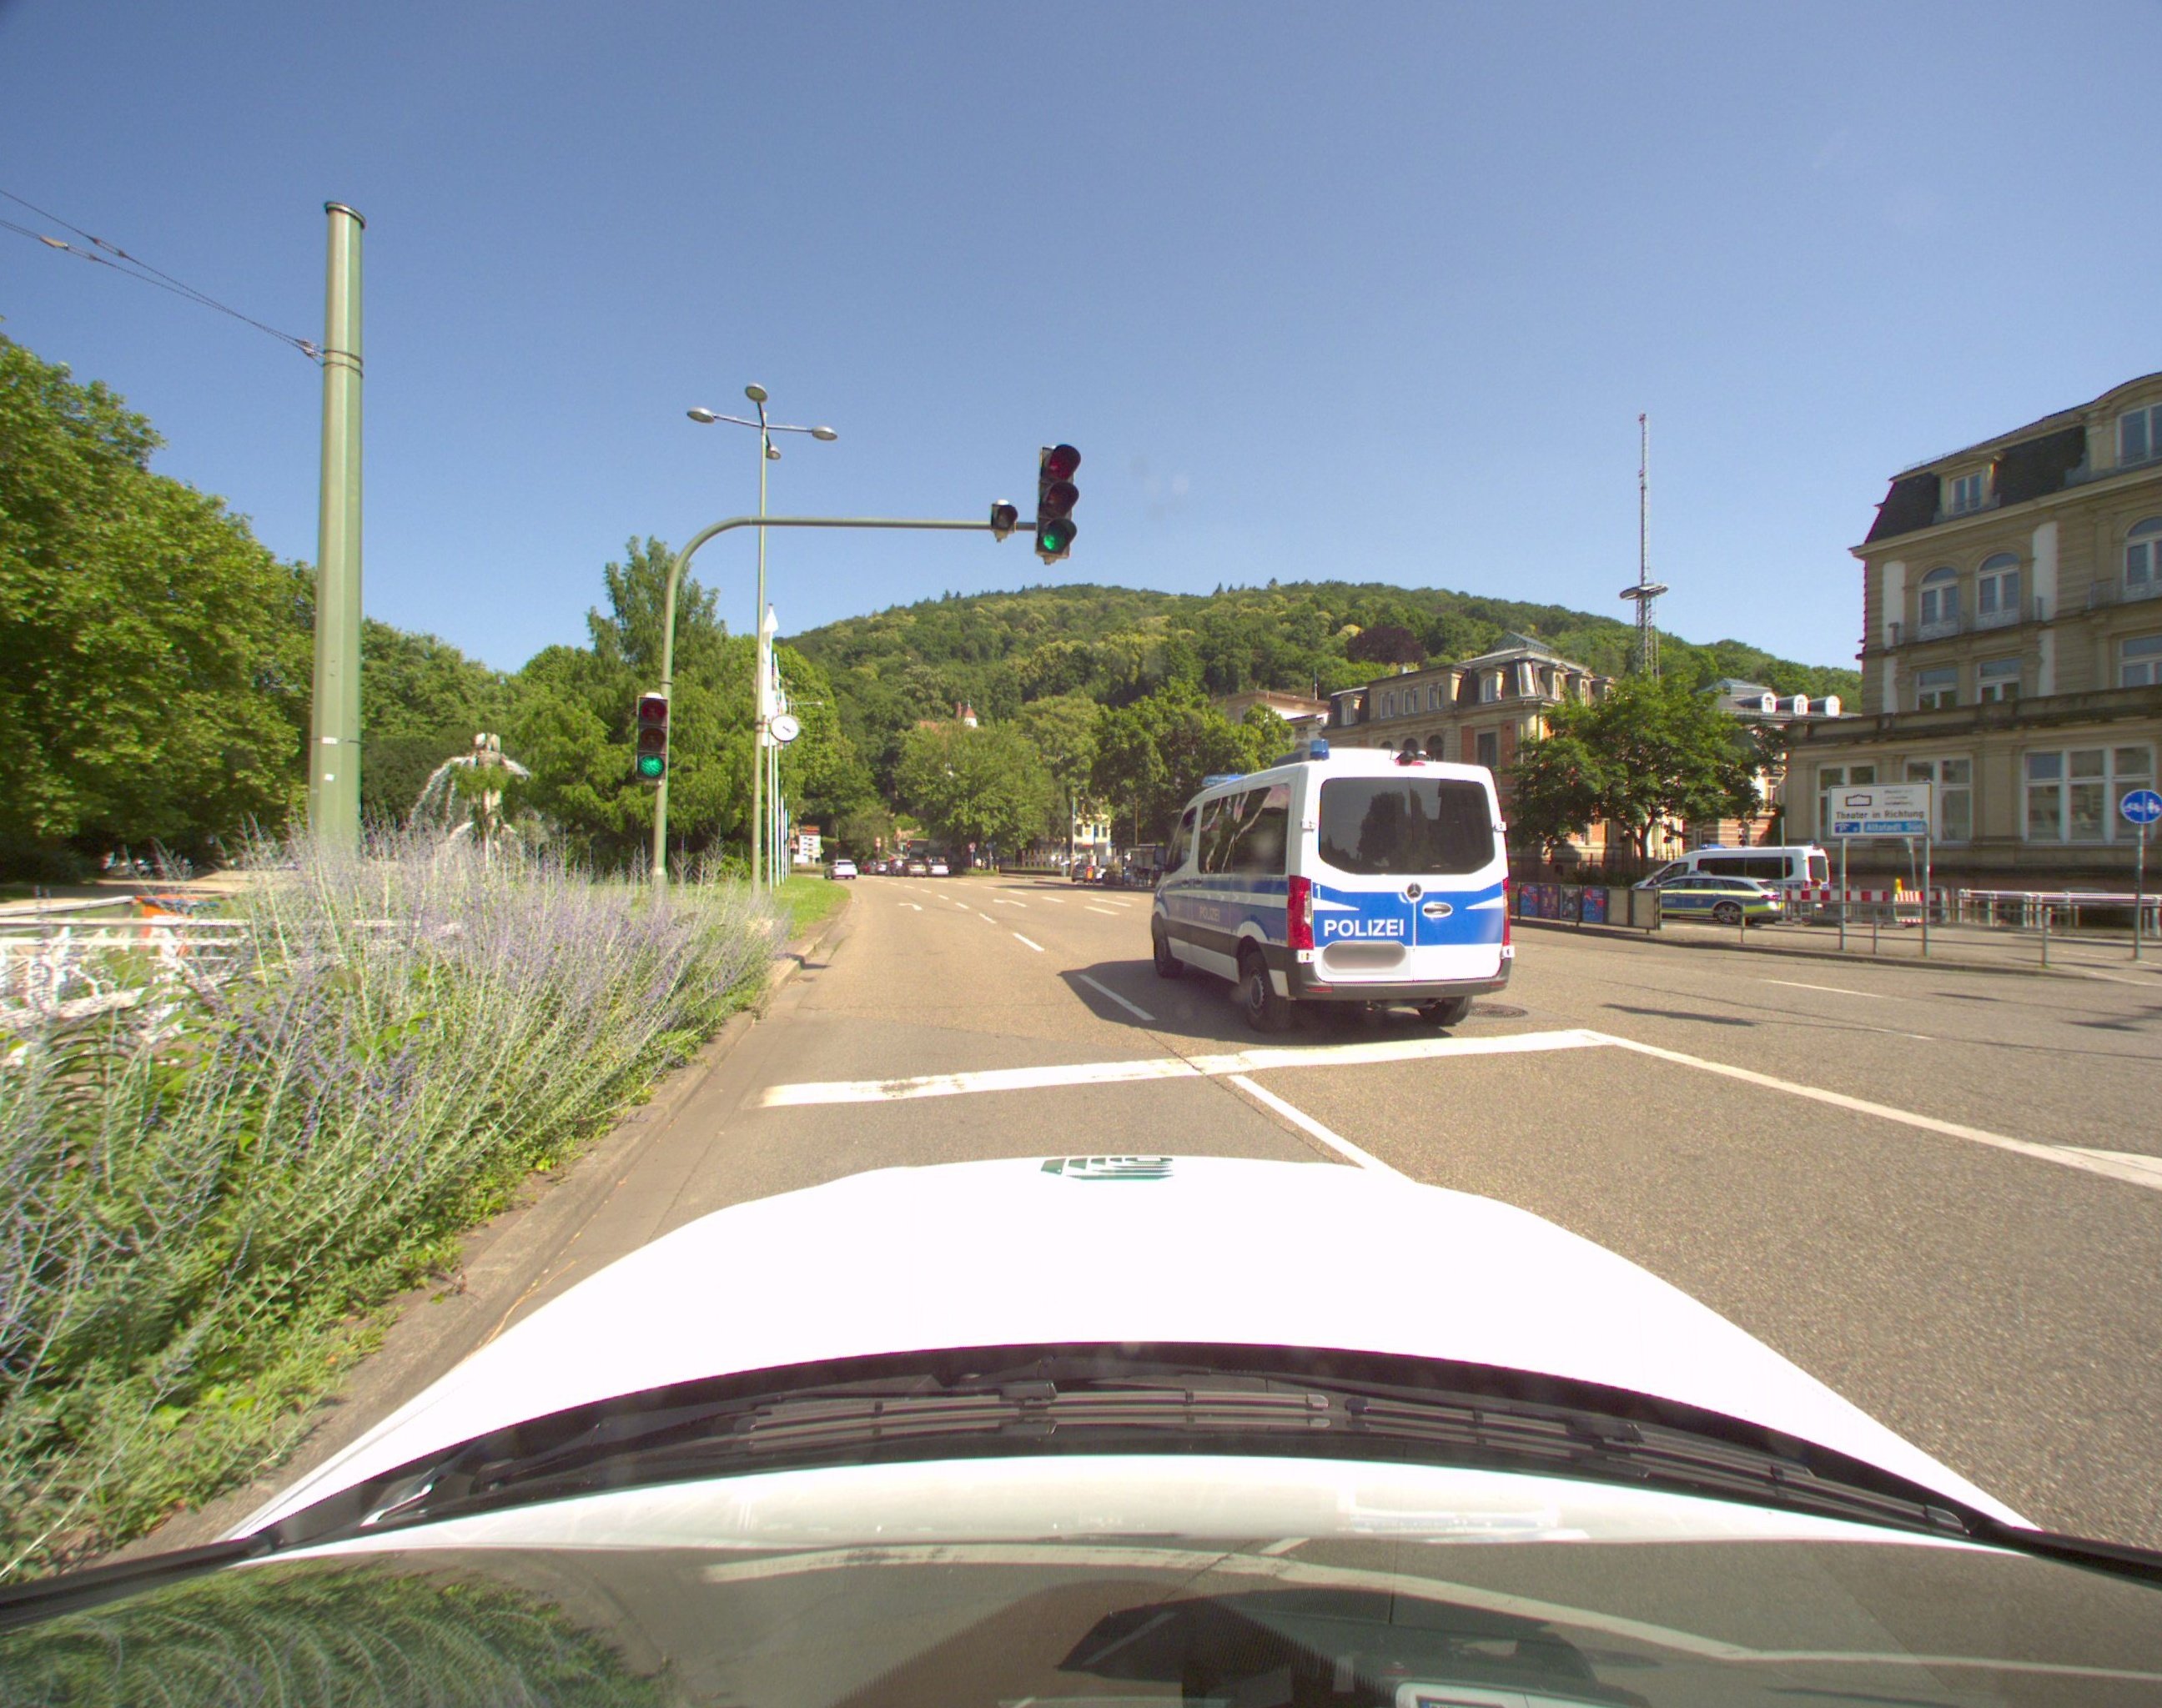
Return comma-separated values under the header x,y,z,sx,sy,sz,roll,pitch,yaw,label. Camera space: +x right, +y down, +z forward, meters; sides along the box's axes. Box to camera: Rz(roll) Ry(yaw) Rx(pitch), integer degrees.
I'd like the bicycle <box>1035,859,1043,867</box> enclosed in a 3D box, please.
x,y,z,sx,sy,sz,roll,pitch,yaw,label
-5.547,1.191,107.317,0.539,1.085,1.821,0,0,-22,bicycle

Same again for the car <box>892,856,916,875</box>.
x,y,z,sx,sy,sz,roll,pitch,yaw,label
-18.650,1.210,85.739,1.764,1.938,3.466,1,-1,-24,car

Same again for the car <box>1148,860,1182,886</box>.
x,y,z,sx,sy,sz,roll,pitch,yaw,label
5.820,1.271,55.969,1.696,1.696,4.290,1,-1,14,car

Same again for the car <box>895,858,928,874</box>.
x,y,z,sx,sy,sz,roll,pitch,yaw,label
-14.207,0.982,68.285,1.766,1.334,3.768,1,0,-27,car

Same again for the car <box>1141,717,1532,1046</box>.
x,y,z,sx,sy,sz,roll,pitch,yaw,label
2.228,0.250,8.804,2.073,2.509,4.913,1,-1,-9,car

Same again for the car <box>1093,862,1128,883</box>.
x,y,z,sx,sy,sz,roll,pitch,yaw,label
2.256,1.372,62.057,1.695,1.511,3.828,1,-1,17,car

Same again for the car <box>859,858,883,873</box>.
x,y,z,sx,sy,sz,roll,pitch,yaw,label
-21.503,1.197,83.271,1.764,1.461,3.466,1,0,-24,car

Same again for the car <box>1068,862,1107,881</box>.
x,y,z,sx,sy,sz,roll,pitch,yaw,label
0.553,1.343,64.012,1.806,1.461,4.128,1,-1,20,car

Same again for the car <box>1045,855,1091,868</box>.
x,y,z,sx,sy,sz,roll,pitch,yaw,label
-1.341,0.730,85.358,4.489,1.336,1.806,0,0,-26,car

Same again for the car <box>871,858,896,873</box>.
x,y,z,sx,sy,sz,roll,pitch,yaw,label
-18.994,1.090,78.139,1.764,1.461,3.617,1,0,-24,car

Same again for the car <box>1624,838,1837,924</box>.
x,y,z,sx,sy,sz,roll,pitch,yaw,label
21.692,0.833,27.482,2.007,2.603,5.264,1,-1,-32,car

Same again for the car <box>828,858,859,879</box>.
x,y,z,sx,sy,sz,roll,pitch,yaw,label
-17.801,1.081,60.904,1.849,1.460,3.468,1,0,-22,car

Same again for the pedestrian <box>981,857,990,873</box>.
x,y,z,sx,sy,sz,roll,pitch,yaw,label
-10.260,1.204,87.741,0.774,1.663,0.823,1,-1,-22,pedestrian

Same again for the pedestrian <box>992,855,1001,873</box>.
x,y,z,sx,sy,sz,roll,pitch,yaw,label
-9.053,1.088,87.454,0.775,1.854,0.822,1,-1,-25,pedestrian

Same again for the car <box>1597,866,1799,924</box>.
x,y,z,sx,sy,sz,roll,pitch,yaw,label
19.496,1.228,25.983,1.829,1.626,4.829,1,-1,-34,car

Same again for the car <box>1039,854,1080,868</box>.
x,y,z,sx,sy,sz,roll,pitch,yaw,label
-2.356,0.753,90.109,4.167,1.476,1.860,0,0,-29,car

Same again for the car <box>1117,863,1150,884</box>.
x,y,z,sx,sy,sz,roll,pitch,yaw,label
3.874,1.408,59.535,1.696,1.442,3.825,1,-1,14,car

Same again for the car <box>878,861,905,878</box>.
x,y,z,sx,sy,sz,roll,pitch,yaw,label
-17.107,1.355,73.604,1.764,1.461,3.466,1,0,-24,car

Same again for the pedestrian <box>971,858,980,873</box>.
x,y,z,sx,sy,sz,roll,pitch,yaw,label
-11.335,1.225,87.822,0.774,1.663,0.823,1,-1,-23,pedestrian

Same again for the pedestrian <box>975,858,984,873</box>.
x,y,z,sx,sy,sz,roll,pitch,yaw,label
-11.064,1.229,88.837,0.774,1.663,0.823,1,-1,-23,pedestrian

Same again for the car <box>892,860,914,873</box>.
x,y,z,sx,sy,sz,roll,pitch,yaw,label
-20.537,1.482,93.986,1.764,1.461,3.466,1,0,-24,car

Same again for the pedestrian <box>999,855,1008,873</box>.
x,y,z,sx,sy,sz,roll,pitch,yaw,label
-8.362,1.083,87.834,0.775,1.854,0.822,1,-1,-25,pedestrian

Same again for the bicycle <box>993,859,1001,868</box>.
x,y,z,sx,sy,sz,roll,pitch,yaw,label
-10.906,1.209,105.510,0.539,1.085,1.821,0,0,-22,bicycle

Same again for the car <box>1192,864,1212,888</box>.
x,y,z,sx,sy,sz,roll,pitch,yaw,label
7.846,1.414,52.887,1.190,1.482,2.295,1,-1,11,car

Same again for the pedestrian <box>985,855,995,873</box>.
x,y,z,sx,sy,sz,roll,pitch,yaw,label
-9.741,1.071,87.013,0.775,1.854,0.822,1,-1,-25,pedestrian

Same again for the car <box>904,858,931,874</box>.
x,y,z,sx,sy,sz,roll,pitch,yaw,label
-15.677,1.111,77.895,1.764,1.461,3.617,1,0,-24,car

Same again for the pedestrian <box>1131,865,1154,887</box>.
x,y,z,sx,sy,sz,roll,pitch,yaw,label
3.468,1.221,45.852,1.027,1.198,0.782,1,-1,-44,pedestrian

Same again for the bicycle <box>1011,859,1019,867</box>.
x,y,z,sx,sy,sz,roll,pitch,yaw,label
-8.565,1.202,106.396,0.539,1.085,1.821,0,0,-22,bicycle

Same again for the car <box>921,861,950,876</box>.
x,y,z,sx,sy,sz,roll,pitch,yaw,label
-13.106,1.292,73.161,1.764,1.213,3.466,1,0,-24,car

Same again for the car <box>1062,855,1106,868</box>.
x,y,z,sx,sy,sz,roll,pitch,yaw,label
0.301,0.743,83.327,4.106,1.336,1.806,0,0,-26,car

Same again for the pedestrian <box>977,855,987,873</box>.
x,y,z,sx,sy,sz,roll,pitch,yaw,label
-10.559,1.085,86.682,0.774,1.854,0.823,1,-1,-24,pedestrian
